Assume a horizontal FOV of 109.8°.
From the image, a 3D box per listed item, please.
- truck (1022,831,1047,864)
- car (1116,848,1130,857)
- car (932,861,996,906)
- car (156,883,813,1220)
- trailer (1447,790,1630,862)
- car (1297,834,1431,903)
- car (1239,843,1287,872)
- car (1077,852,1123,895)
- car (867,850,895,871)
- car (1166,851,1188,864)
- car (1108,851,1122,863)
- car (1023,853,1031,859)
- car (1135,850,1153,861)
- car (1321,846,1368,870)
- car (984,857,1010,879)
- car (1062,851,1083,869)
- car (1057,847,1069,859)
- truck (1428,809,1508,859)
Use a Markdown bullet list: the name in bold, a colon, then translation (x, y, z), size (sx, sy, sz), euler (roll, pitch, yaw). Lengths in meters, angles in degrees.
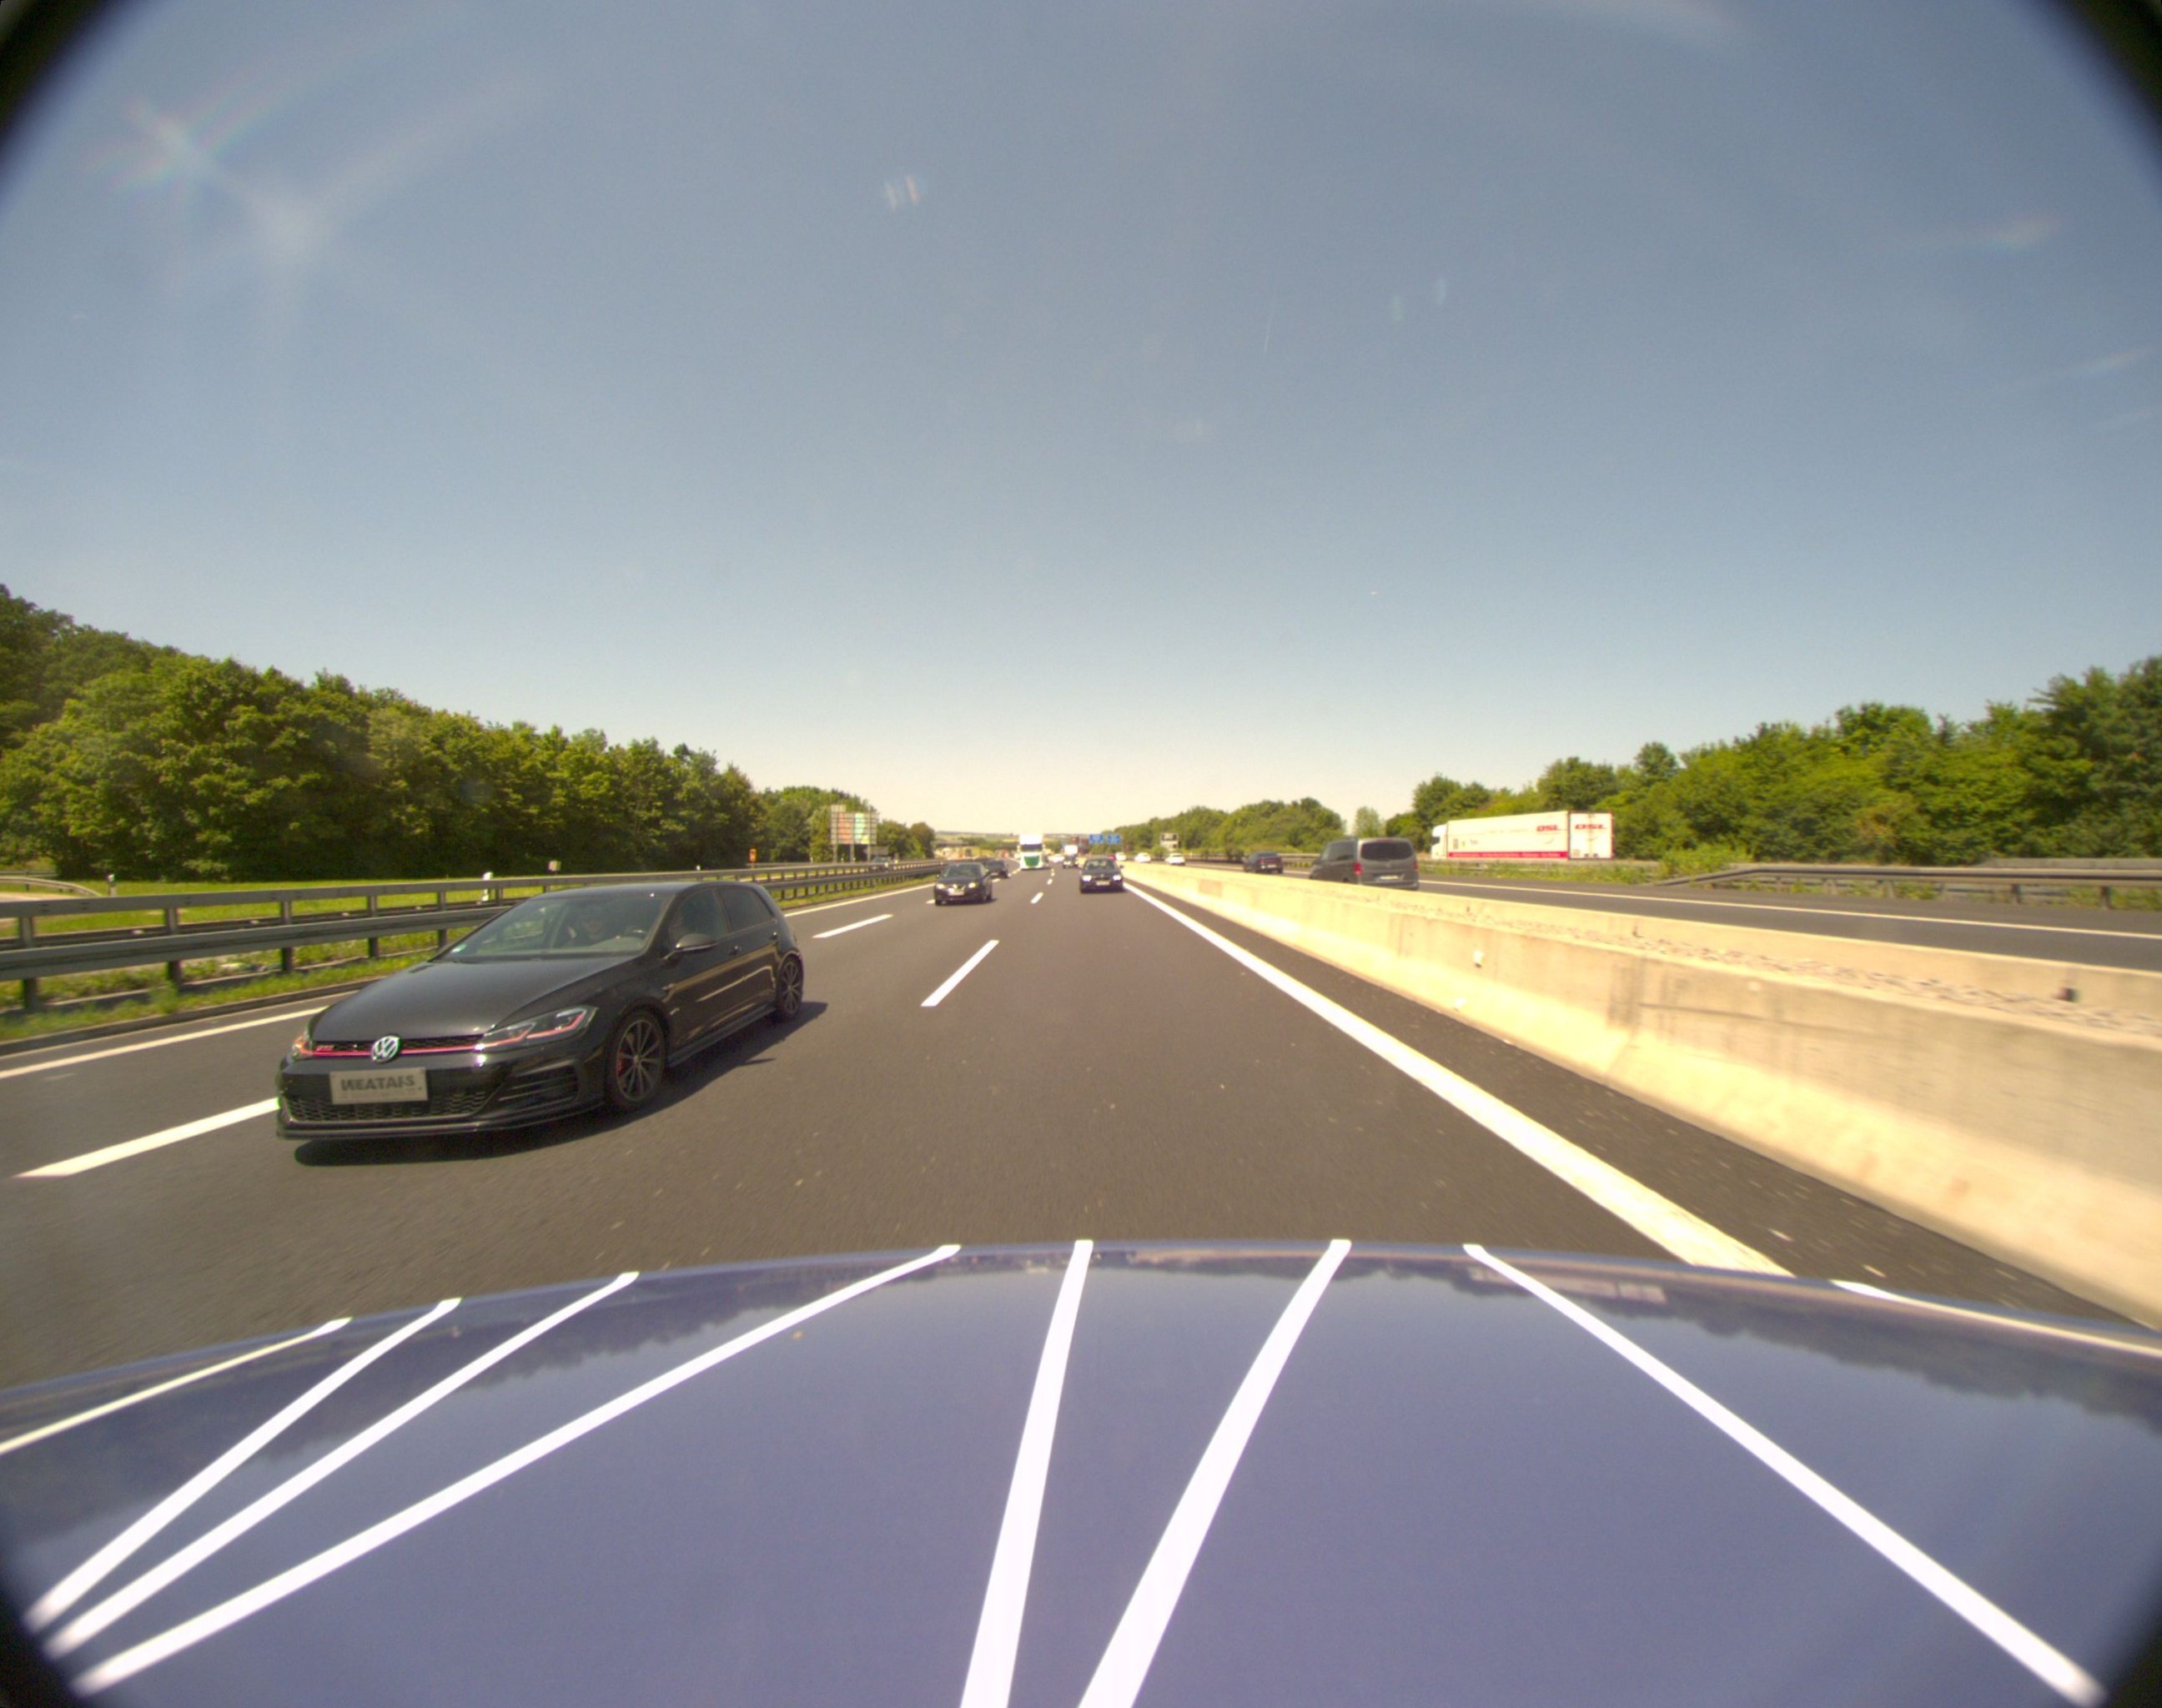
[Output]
- **truck**: translation (-5.266, -0.719, 86.387), size (2.649, 3.572, 4.402), euler (-1, 1, -2)
- **car**: translation (7.648, -0.318, 138.363), size (1.874, 1.656, 4.661), euler (-1, 1, -4)
- **car**: translation (-4.083, 0.988, 26.993), size (1.781, 1.392, 3.760), euler (-1, 1, -2)
- **car**: translation (-3.640, 1.056, 5.742), size (1.799, 1.427, 3.965), euler (-1, 1, 0)
- **trailer**: translation (28.924, -1.636, 49.466), size (3.116, 3.974, 14.080), euler (-1, 1, -1)
- **car**: translation (8.530, 0.368, 23.549), size (2.040, 1.847, 5.373), euler (-1, 1, -1)
- **car**: translation (12.054, 0.176, 50.626), size (1.999, 1.814, 4.904), euler (-1, 1, 0)
- **car**: translation (0.835, 0.761, 31.810), size (1.798, 1.574, 4.000), euler (-1, 1, 3)
- **car**: translation (-19.061, 0.603, 72.655), size (2.000, 2.002, 3.997), euler (-1, 0, -7)
- **car**: translation (10.803, 0.367, 85.889), size (1.855, 1.386, 3.999), euler (-3, 0, -1)
- **car**: translation (5.398, 0.458, 121.195), size (1.999, 1.649, 4.633), euler (-1, 1, -1)
- **car**: translation (-14.510, 0.598, 204.777), size (1.999, 1.618, 3.998), euler (-1, 0, -3)
- **car**: translation (9.262, 0.173, 111.774), size (1.999, 1.535, 5.040), euler (-1, 1, -2)
- **car**: translation (23.684, 0.336, 68.610), size (1.999, 2.002, 5.317), euler (-1, 0, -5)
- **car**: translation (-6.365, 1.033, 57.929), size (1.892, 1.464, 3.865), euler (-1, 1, -5)
- **car**: translation (-1.048, 0.702, 89.078), size (2.000, 2.002, 3.997), euler (-2, 1, -6)
- **car**: translation (-3.110, -0.178, 132.823), size (1.925, 2.002, 3.998), euler (-1, 0, -4)
- **truck**: translation (28.755, -1.470, 56.728), size (3.091, 3.483, 5.408), euler (-1, 1, 0)
